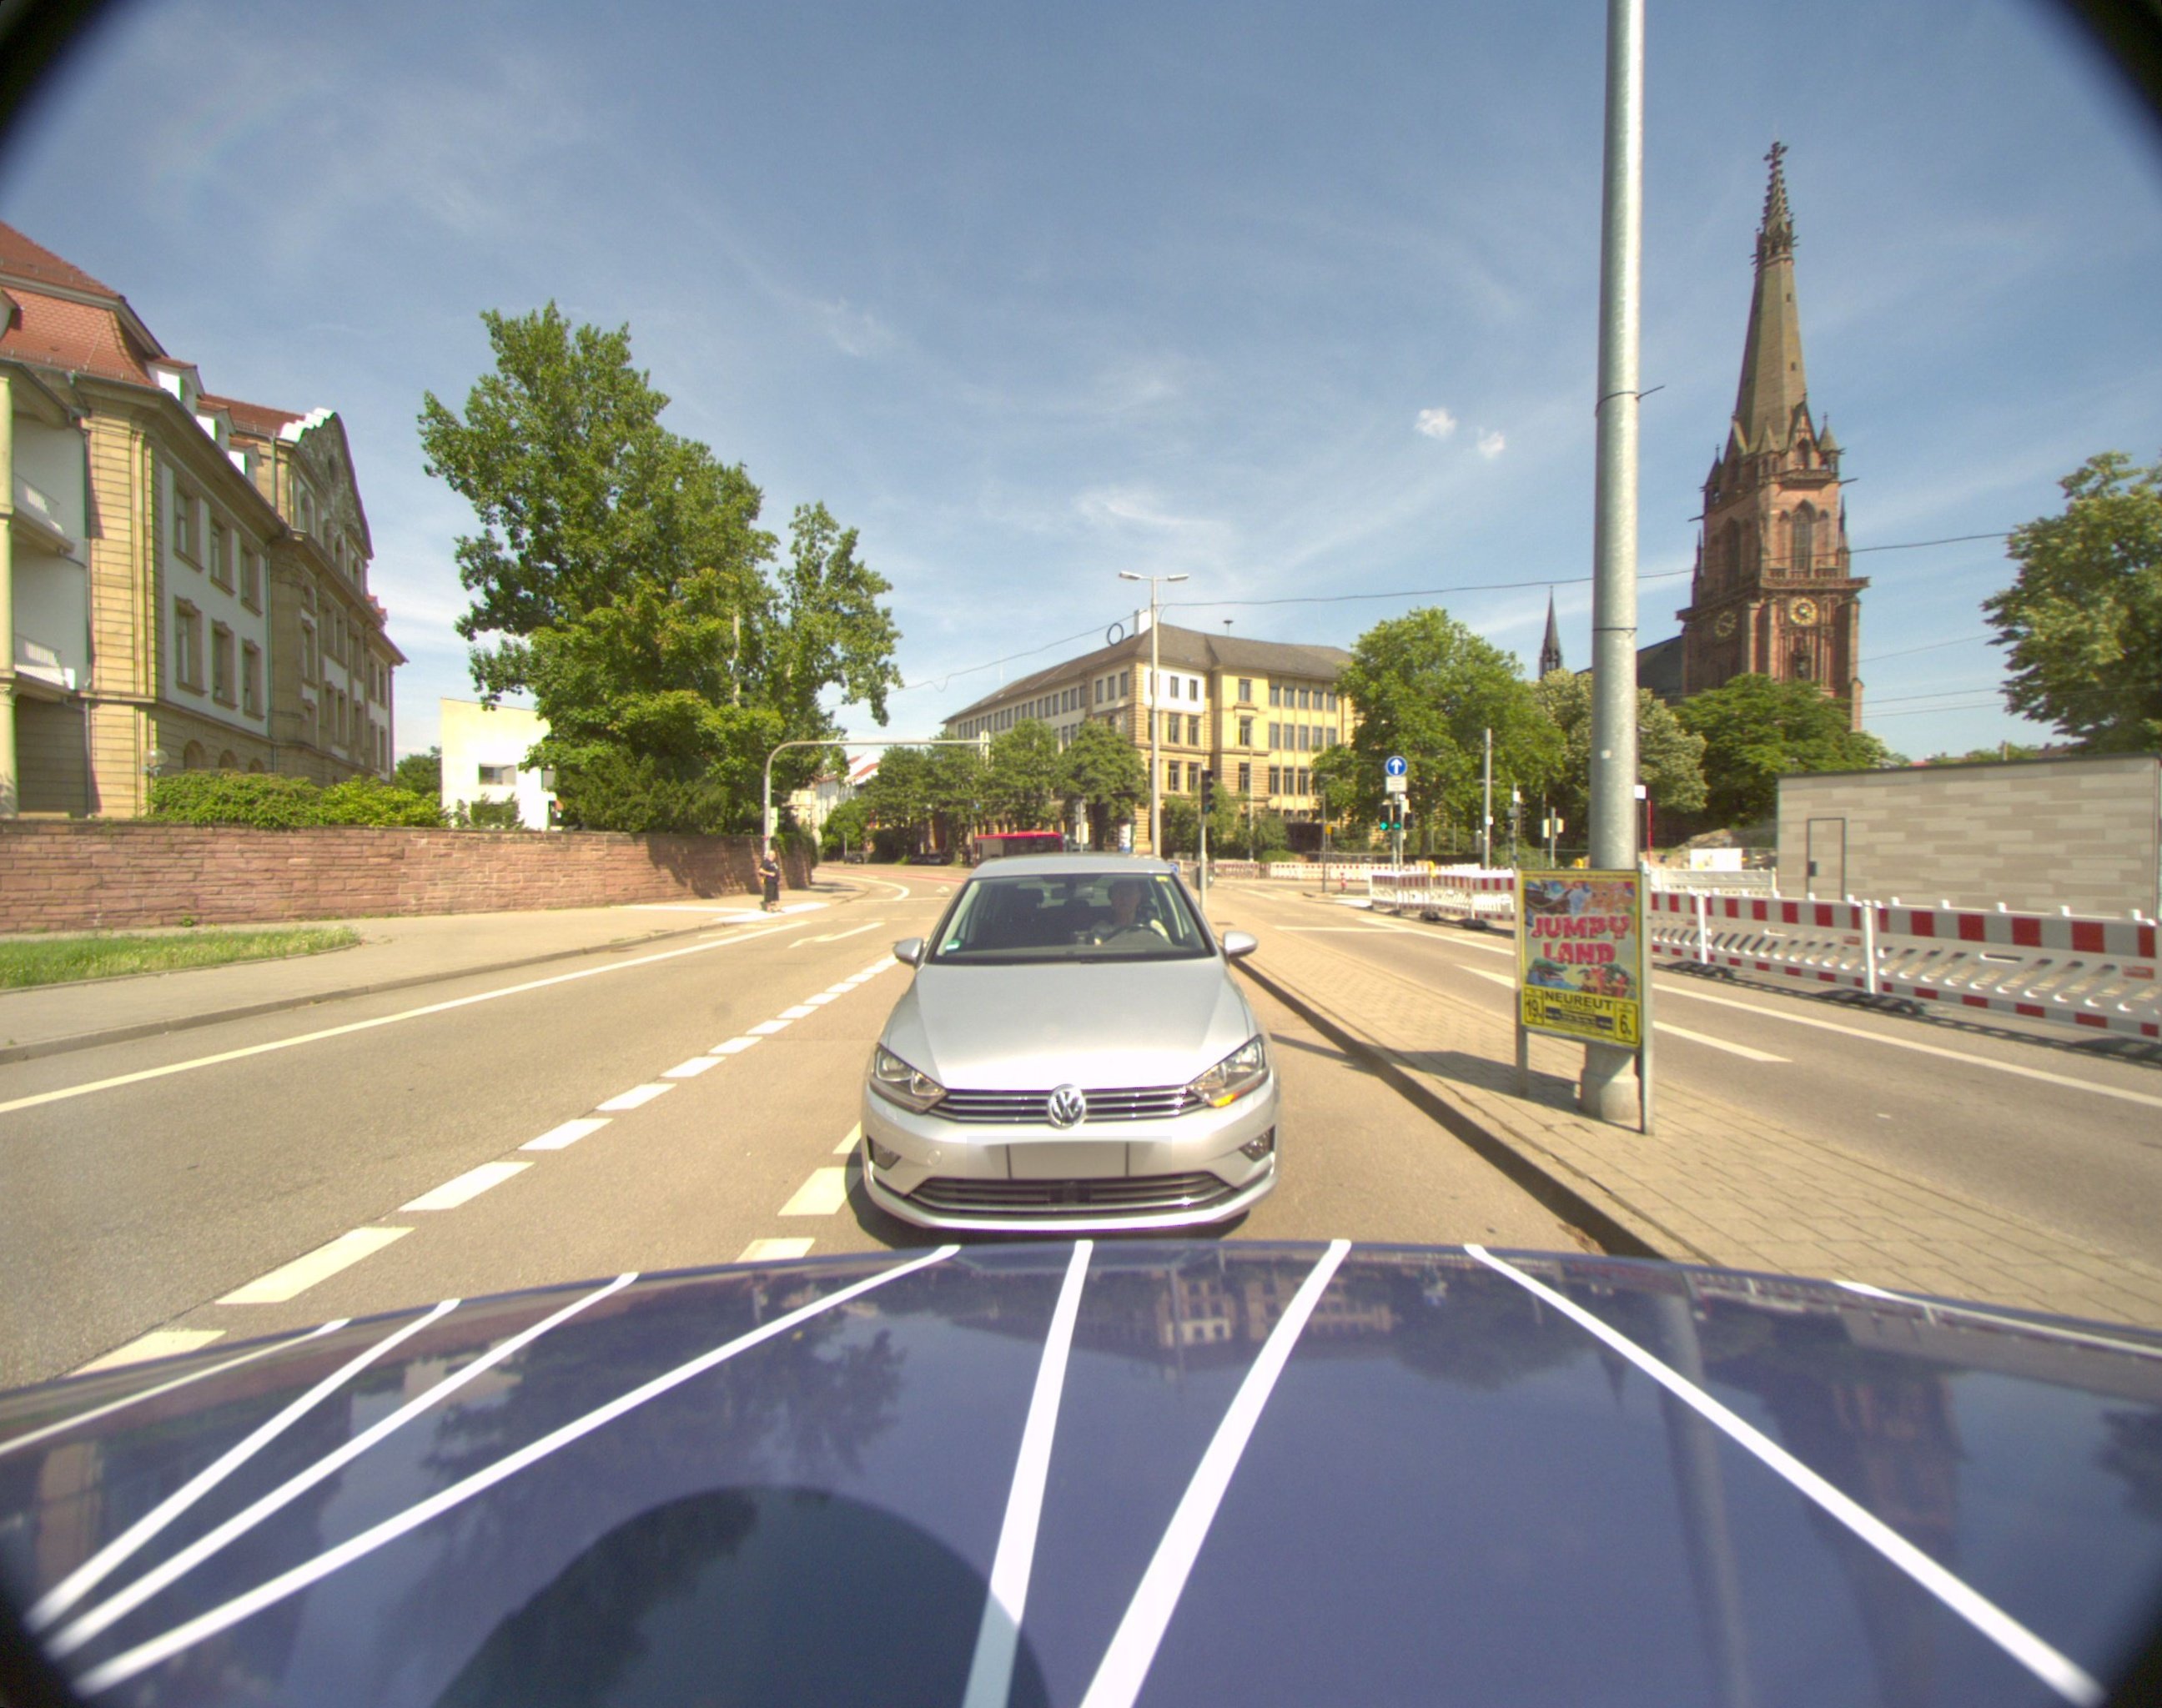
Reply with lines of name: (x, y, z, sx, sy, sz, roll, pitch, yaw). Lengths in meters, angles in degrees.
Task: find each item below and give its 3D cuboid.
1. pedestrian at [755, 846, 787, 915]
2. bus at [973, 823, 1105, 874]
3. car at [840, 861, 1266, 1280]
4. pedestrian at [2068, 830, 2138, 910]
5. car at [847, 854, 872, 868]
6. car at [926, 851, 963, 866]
pedestrian: (-9.161, 0.781, 22.483, 0.796, 2.002, 0.615, 0, 1, -14)
bus: (-3.290, -0.291, 52.710, 3.138, 3.076, 12.382, -3, 1, -34)
car: (-0.022, 0.873, 5.094, 1.687, 1.577, 4.152, 0, 0, 3)
pedestrian: (26.225, 0.404, 19.510, 0.820, 2.002, 0.686, 1, 1, 3)
car: (-28.389, 0.878, 97.452, 2.003, 1.608, 3.990, -3, 1, -31)
car: (-16.824, 0.546, 93.592, 4.006, 1.653, 1.994, -3, 4, -35)
